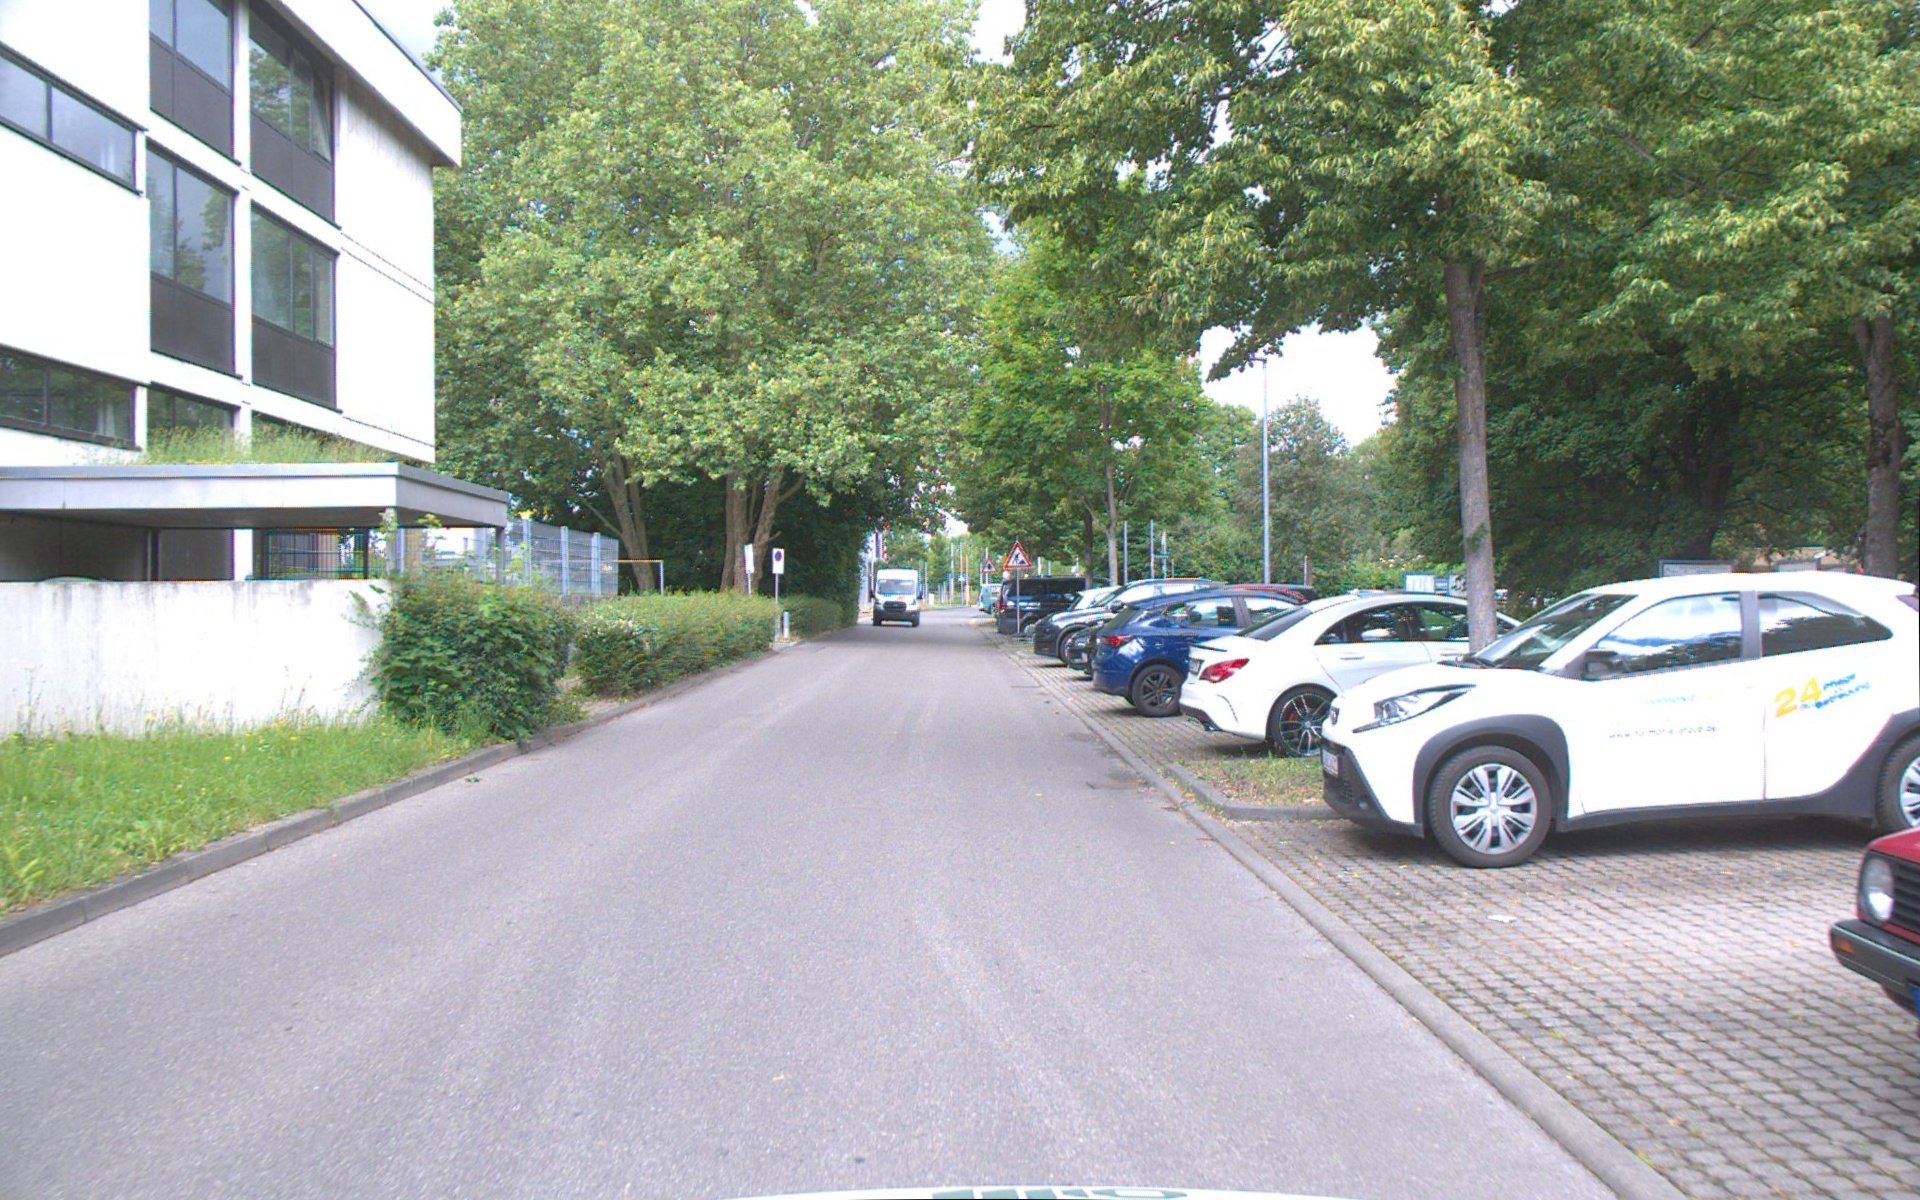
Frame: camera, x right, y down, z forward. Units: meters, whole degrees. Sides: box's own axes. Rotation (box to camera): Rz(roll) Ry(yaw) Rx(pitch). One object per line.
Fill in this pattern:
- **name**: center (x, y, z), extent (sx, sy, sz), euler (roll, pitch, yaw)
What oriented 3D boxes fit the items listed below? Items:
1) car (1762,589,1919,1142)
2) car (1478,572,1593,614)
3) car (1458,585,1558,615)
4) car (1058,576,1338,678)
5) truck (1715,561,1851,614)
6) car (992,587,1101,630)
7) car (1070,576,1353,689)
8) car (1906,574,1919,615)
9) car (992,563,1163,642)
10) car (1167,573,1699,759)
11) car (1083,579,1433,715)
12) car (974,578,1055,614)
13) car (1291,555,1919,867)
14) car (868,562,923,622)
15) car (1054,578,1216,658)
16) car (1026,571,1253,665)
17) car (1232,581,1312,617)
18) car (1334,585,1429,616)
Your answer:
- **car**: center (4.498, 0.641, 4.260), extent (3.973, 1.447, 1.816), euler (-2, 0, -2)
- **car**: center (29.416, -0.345, 84.691), extent (5.206, 2.093, 2.139), euler (0, 0, 5)
- **car**: center (26.571, 0.003, 80.242), extent (4.334, 1.453, 1.704), euler (0, 0, 6)
- **car**: center (4.016, 0.436, 28.499), extent (4.541, 1.543, 1.983), euler (-2, 1, 1)
- **truck**: center (39.348, -0.571, 79.218), extent (5.390, 2.468, 2.194), euler (0, 0, 6)
- **car**: center (3.217, 0.326, 61.822), extent (3.906, 1.455, 1.935), euler (-2, -1, -1)
- **car**: center (3.835, 0.483, 25.653), extent (3.993, 1.544, 1.849), euler (-2, 0, -5)
- **car**: center (50.859, -0.289, 83.276), extent (5.206, 2.093, 2.139), euler (0, 0, 5)
- **car**: center (3.435, 0.068, 49.081), extent (4.853, 2.048, 2.166), euler (-3, 0, 0)
- **car**: center (4.267, 0.574, 15.409), extent (4.394, 1.480, 1.846), euler (-2, 0, -1)
- **car**: center (3.609, 0.556, 20.557), extent (3.989, 1.482, 1.851), euler (-2, 0, 0)
- **car**: center (3.361, -0.232, 102.390), extent (4.870, 2.006, 1.847), euler (-2, 0, 0)
- **car**: center (3.991, 0.570, 9.607), extent (3.760, 1.542, 1.881), euler (-2, 0, 2)
- **car**: center (-2.815, -0.365, 73.925), extent (2.088, 2.519, 6.277), euler (1, 0, 1)
- **car**: center (3.785, 0.369, 36.240), extent (3.310, 1.602, 1.796), euler (-2, 1, -1)
- **car**: center (3.574, 0.340, 33.567), extent (4.326, 1.705, 2.082), euler (-2, 1, -1)
- **car**: center (15.326, -0.058, 81.400), extent (3.699, 1.697, 1.769), euler (-1, 0, 6)
- **car**: center (20.599, 0.022, 80.943), extent (4.299, 1.453, 1.704), euler (0, 0, 5)
